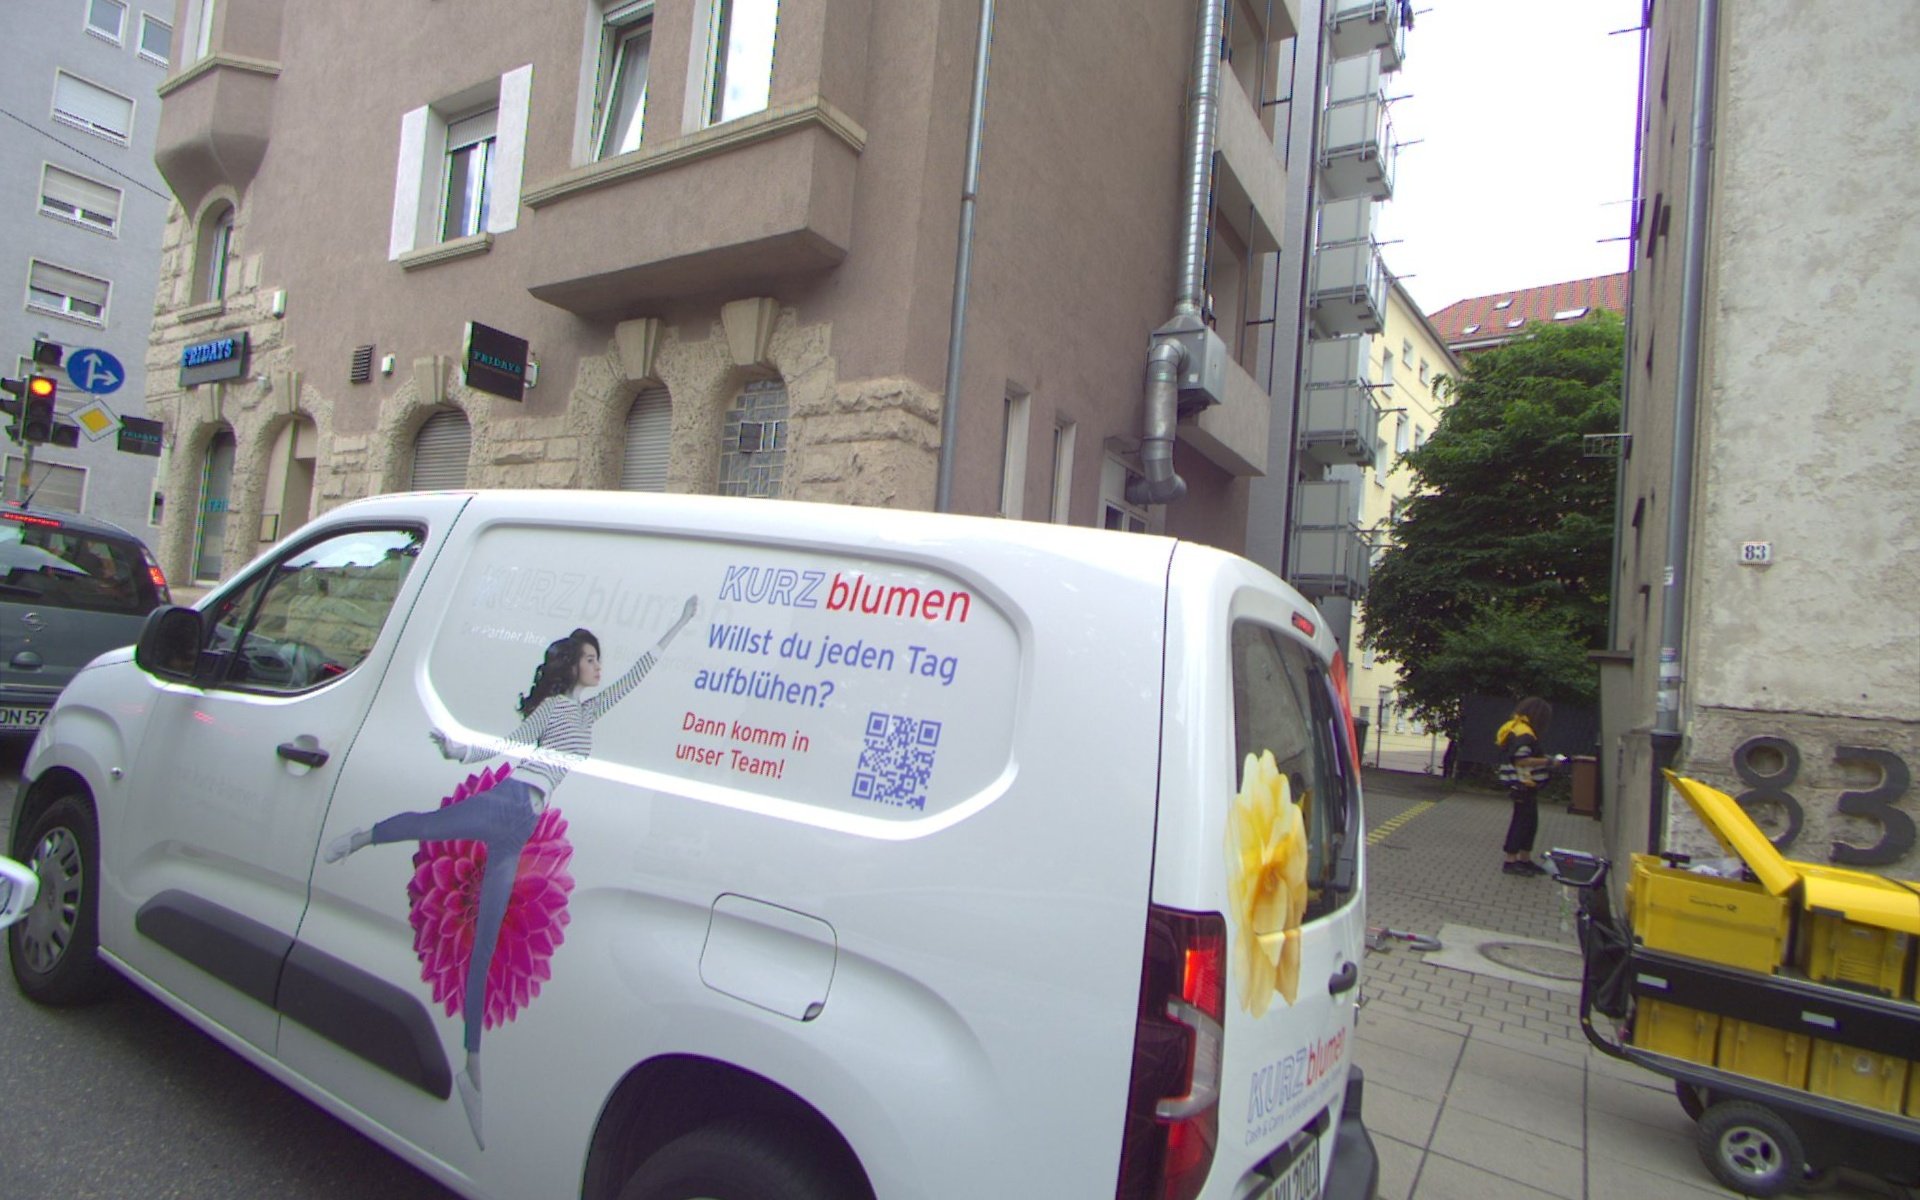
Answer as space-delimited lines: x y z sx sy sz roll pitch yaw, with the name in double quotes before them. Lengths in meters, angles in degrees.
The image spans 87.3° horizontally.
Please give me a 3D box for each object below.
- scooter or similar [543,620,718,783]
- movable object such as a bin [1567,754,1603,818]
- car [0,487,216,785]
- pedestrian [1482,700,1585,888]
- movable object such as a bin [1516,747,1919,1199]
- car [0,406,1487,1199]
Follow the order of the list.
"scooter or similar" -2.742 0.813 8.333 1.400 1.117 0.527 6 -1 34
"movable object such as a bin" 9.920 2.950 15.973 0.405 0.922 0.340 6 -1 32
"car" -6.722 0.052 6.522 3.608 1.614 1.634 6 -5 32
"pedestrian" 5.533 1.829 9.751 0.770 1.665 0.811 1 -3 24
"movable object such as a bin" 3.389 1.464 3.953 1.979 1.391 1.223 6 -1 30
"car" -1.043 0.588 3.180 4.597 1.793 1.983 6 -5 30
